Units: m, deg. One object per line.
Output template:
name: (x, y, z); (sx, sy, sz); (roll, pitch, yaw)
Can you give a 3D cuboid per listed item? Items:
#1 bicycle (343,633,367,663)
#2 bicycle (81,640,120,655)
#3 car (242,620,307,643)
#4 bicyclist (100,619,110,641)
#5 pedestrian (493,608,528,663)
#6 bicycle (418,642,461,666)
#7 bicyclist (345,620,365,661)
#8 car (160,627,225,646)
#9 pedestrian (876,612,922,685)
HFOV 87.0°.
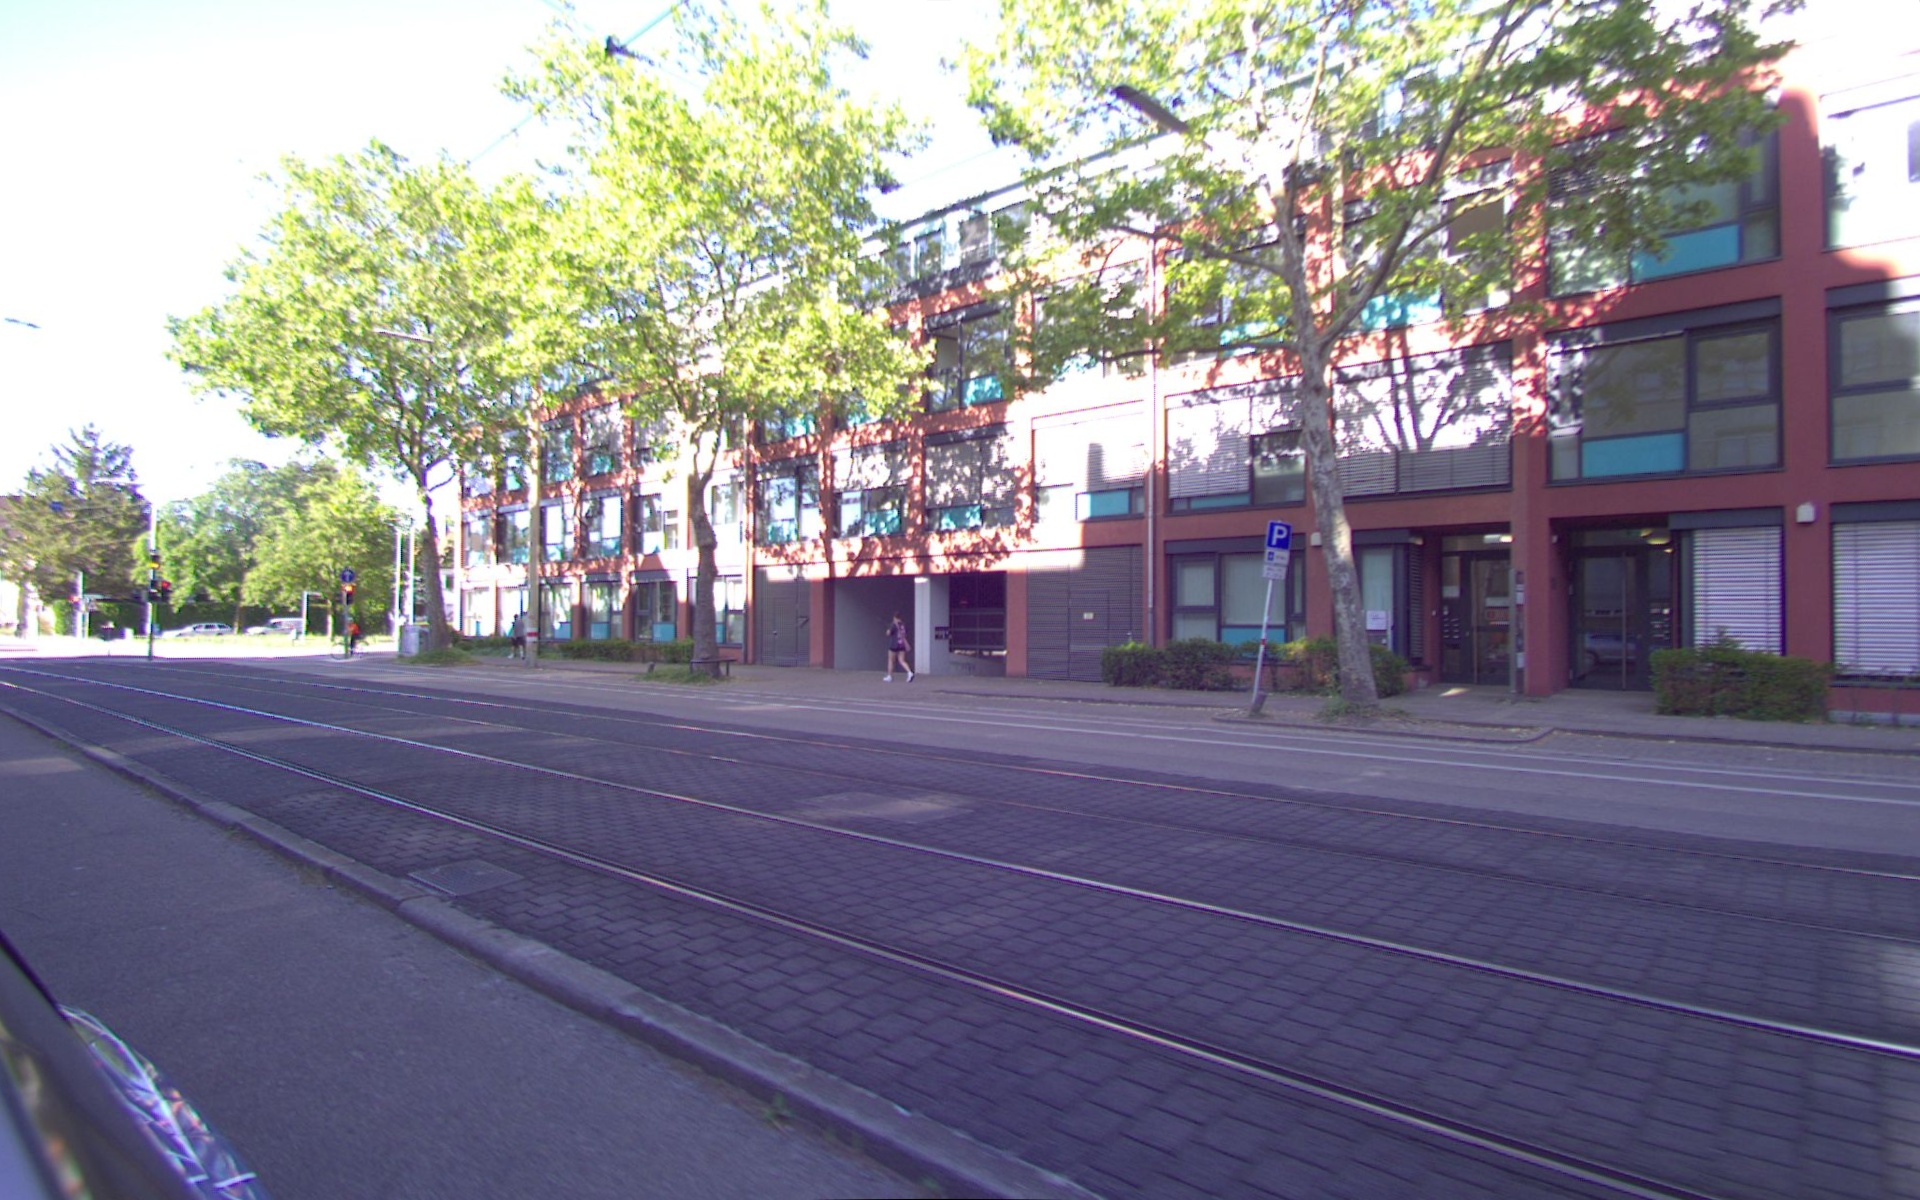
bicycle: (-25.918, 2.033, 43.383); (0.623, 1.138, 2.042); (-2, 2, -24)
bicycle: (-65.240, 3.612, 76.808); (2.251, 1.126, 0.931); (2, -2, -41)
car: (-58.635, 2.704, 86.586); (1.817, 1.881, 4.254); (-2, -3, 43)
bicyclist: (-65.059, 2.304, 77.011); (0.551, 1.635, 0.899); (2, -2, -41)
pedestrian: (-17.064, 1.346, 38.402); (0.778, 2.029, 0.903); (-2, -1, 33)
bicycle: (-19.937, 2.068, 38.763); (1.531, 0.913, 0.519); (0, -2, 18)
bicyclist: (-25.927, 1.712, 43.390); (0.596, 1.705, 0.935); (-1, -1, -24)
car: (-60.905, 2.907, 80.370); (3.939, 1.444, 1.818); (1, -3, -43)
pedestrian: (-1.496, 1.174, 24.792); (0.900, 1.731, 0.619); (-2, -1, 40)
